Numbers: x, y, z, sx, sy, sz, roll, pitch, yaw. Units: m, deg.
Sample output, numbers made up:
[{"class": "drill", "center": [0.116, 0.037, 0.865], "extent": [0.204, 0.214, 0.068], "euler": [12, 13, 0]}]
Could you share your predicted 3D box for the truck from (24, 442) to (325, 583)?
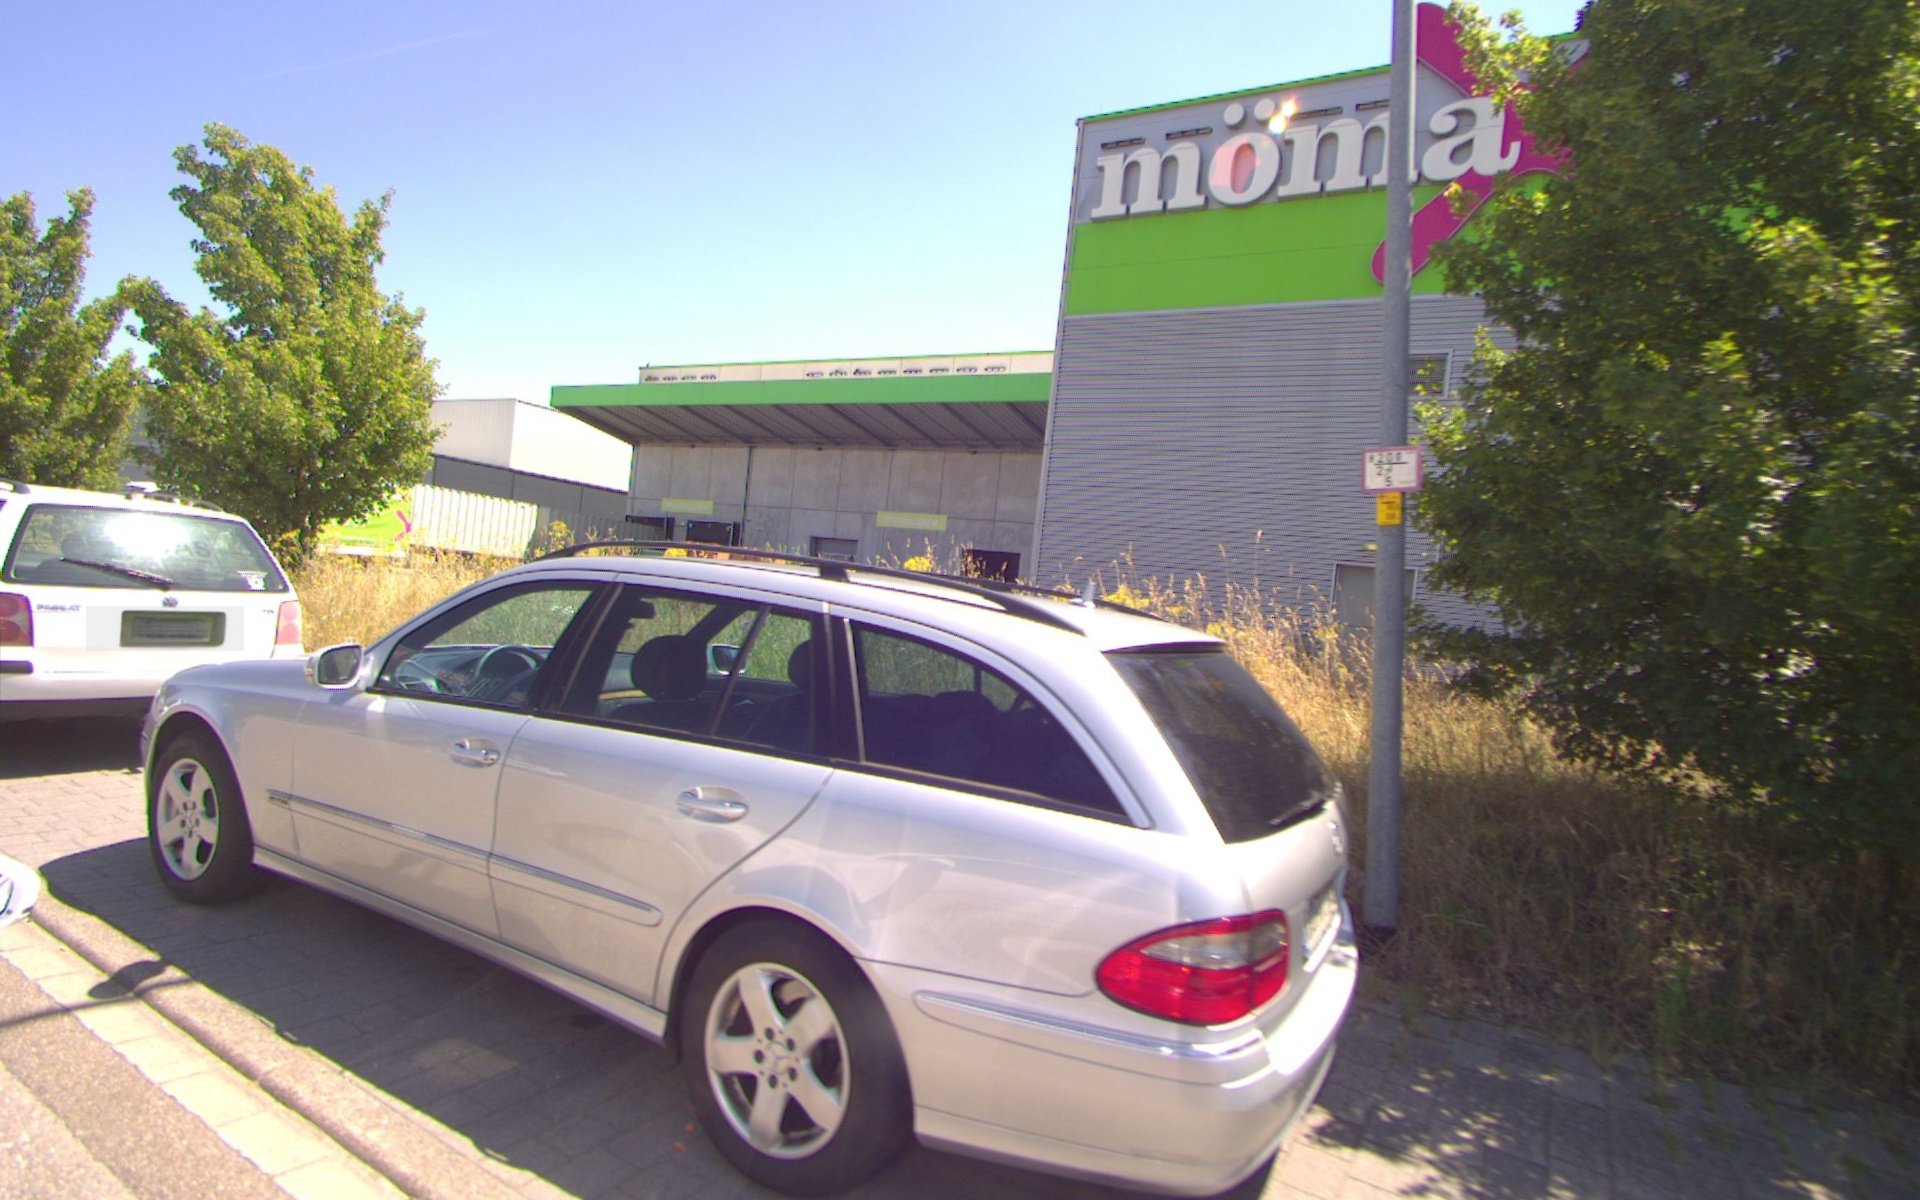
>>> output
[{"class": "truck", "center": [-20.966, -2.238, 27.203], "extent": [2.374, 2.950, 5.827], "euler": [6, 0, 31]}]

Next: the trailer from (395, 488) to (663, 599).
[{"class": "trailer", "center": [-20.649, -2.534, 49.620], "extent": [2.758, 3.923, 12.631], "euler": [5, -1, 32]}]

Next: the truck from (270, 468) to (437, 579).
[{"class": "truck", "center": [-25.253, -3.109, 42.099], "extent": [2.758, 3.923, 5.067], "euler": [5, 0, 32]}]

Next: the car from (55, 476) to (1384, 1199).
[{"class": "car", "center": [-1.129, 0.513, 3.709], "extent": [4.691, 1.502, 1.806], "euler": [7, 2, 29]}]

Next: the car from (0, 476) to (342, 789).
[{"class": "car", "center": [-6.286, -0.051, 6.543], "extent": [4.691, 1.502, 1.715], "euler": [7, 2, 29]}]

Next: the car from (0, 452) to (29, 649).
[{"class": "car", "center": [-10.840, -0.686, 9.508], "extent": [4.695, 1.748, 1.811], "euler": [7, 2, 32]}]

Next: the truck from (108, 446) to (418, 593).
[{"class": "truck", "center": [-17.309, -1.881, 25.426], "extent": [2.267, 2.908, 5.911], "euler": [6, 0, 29]}]
